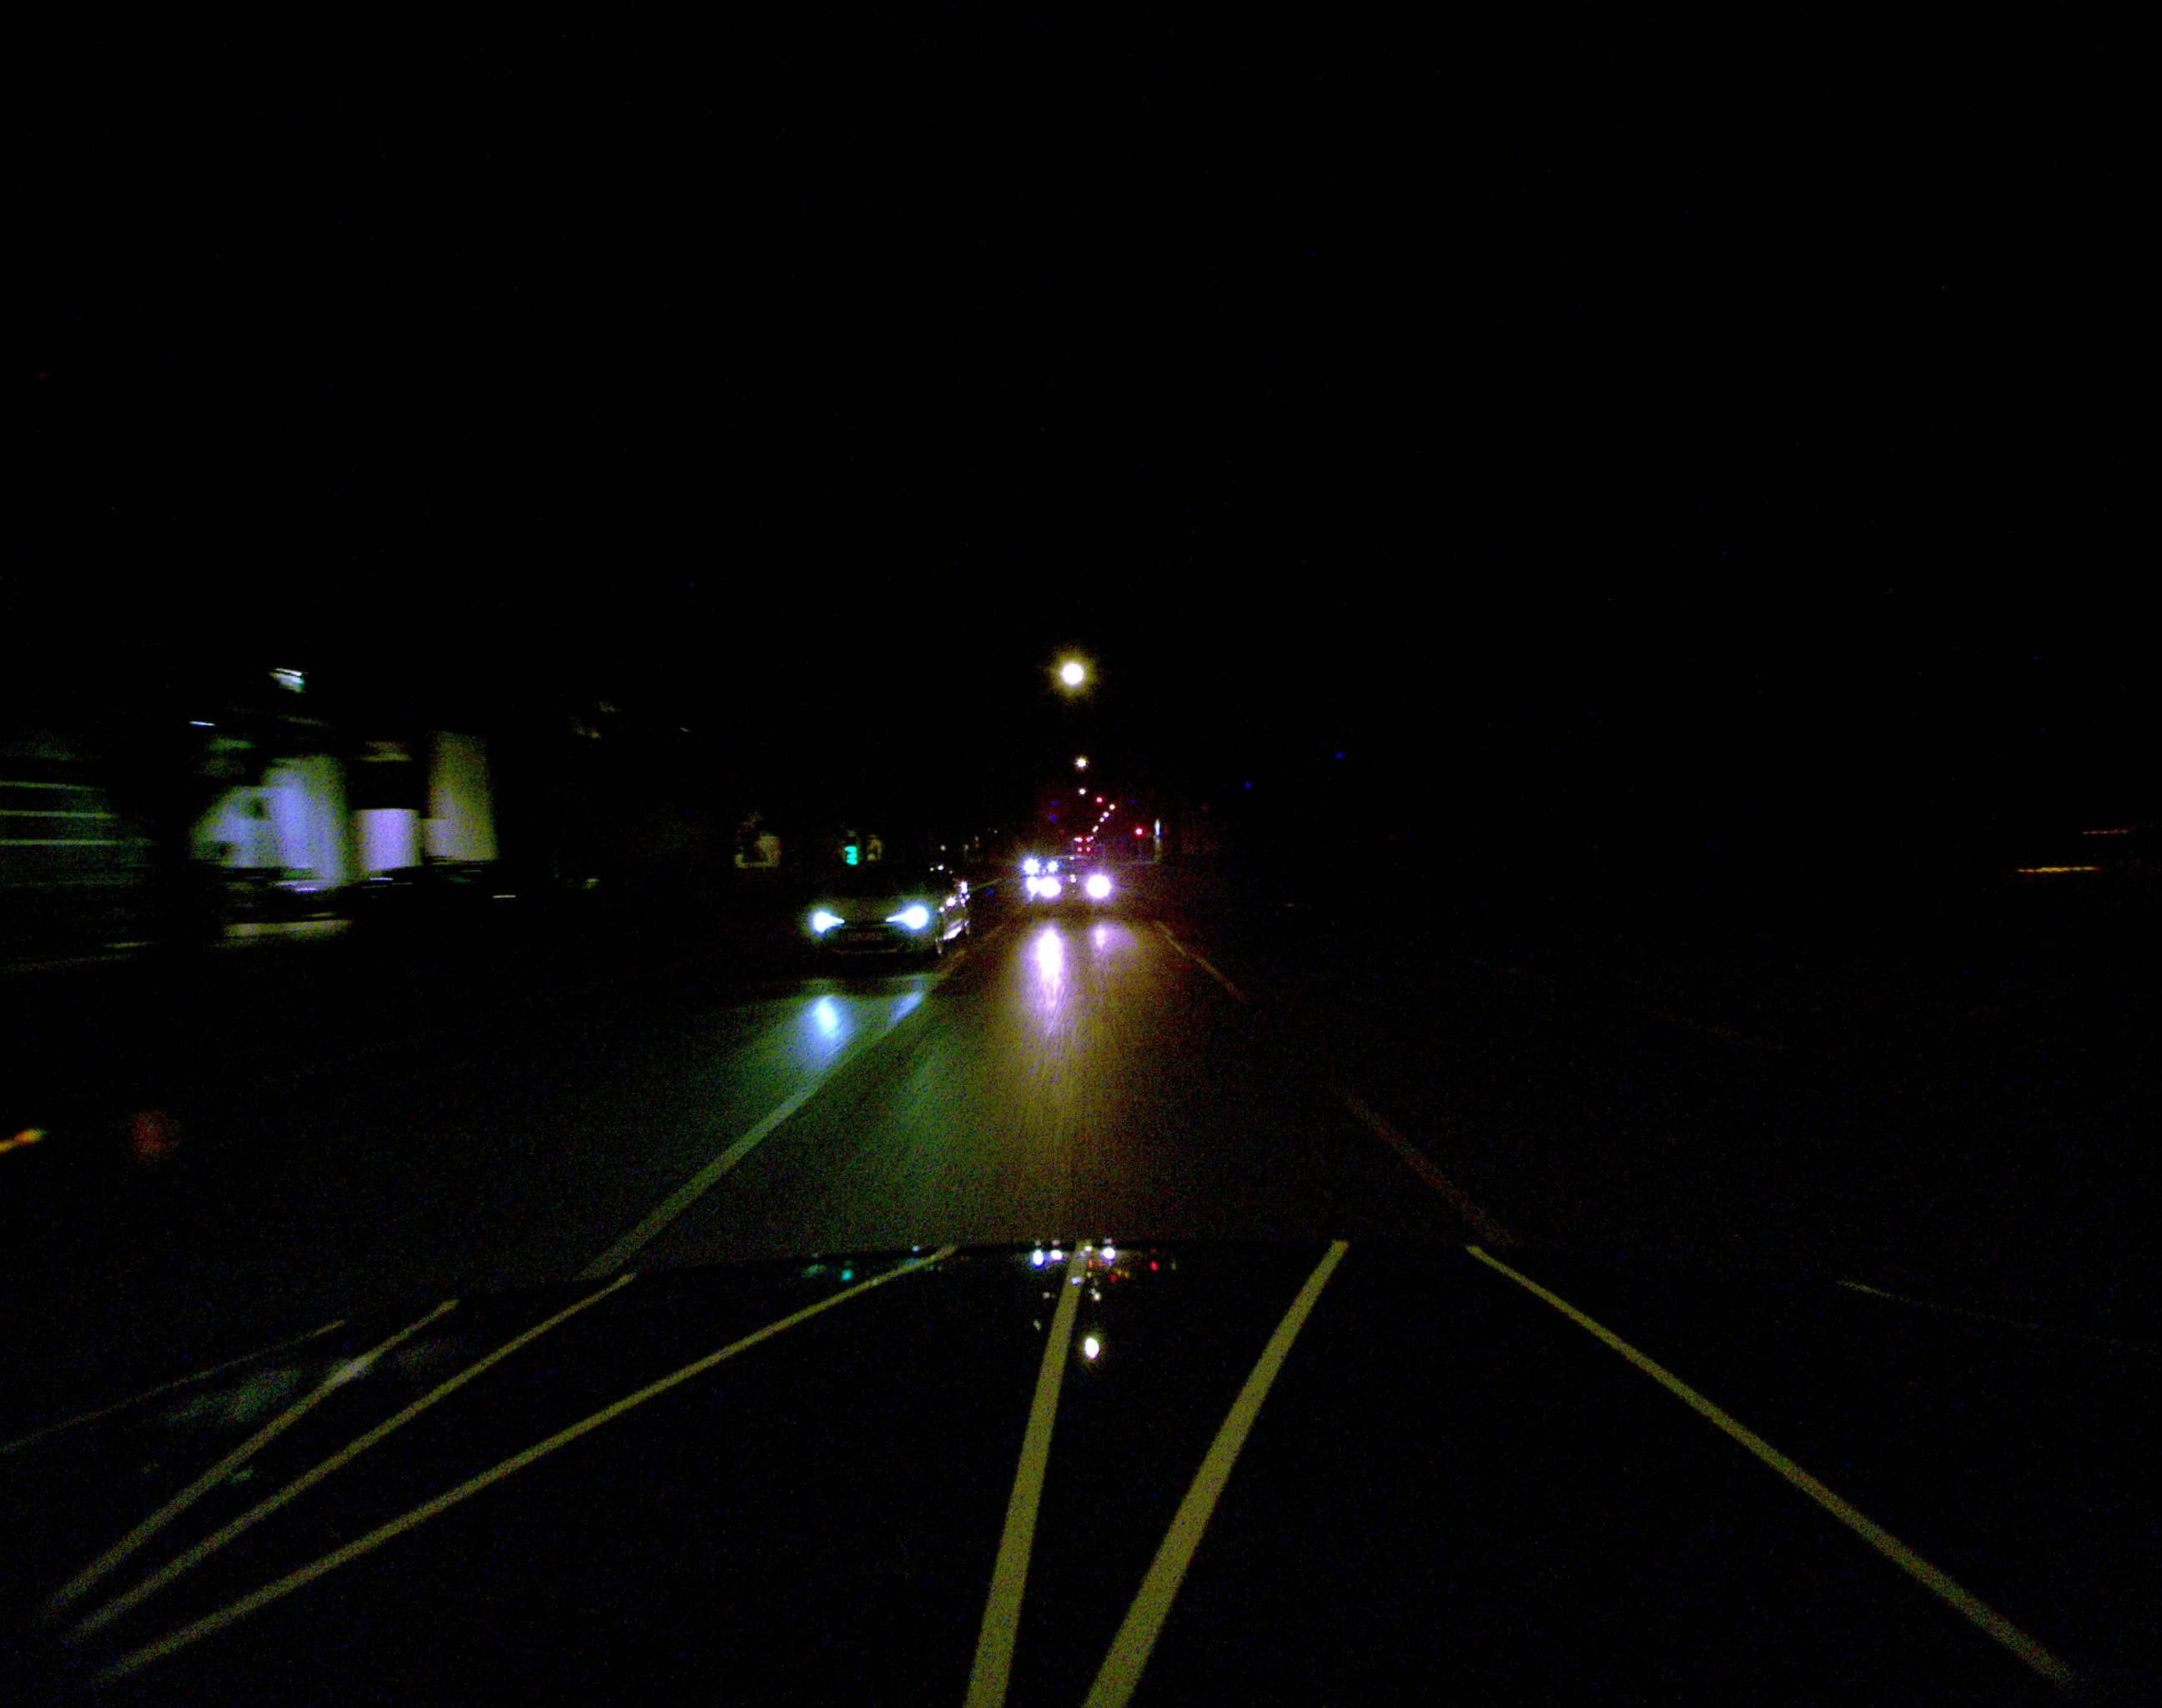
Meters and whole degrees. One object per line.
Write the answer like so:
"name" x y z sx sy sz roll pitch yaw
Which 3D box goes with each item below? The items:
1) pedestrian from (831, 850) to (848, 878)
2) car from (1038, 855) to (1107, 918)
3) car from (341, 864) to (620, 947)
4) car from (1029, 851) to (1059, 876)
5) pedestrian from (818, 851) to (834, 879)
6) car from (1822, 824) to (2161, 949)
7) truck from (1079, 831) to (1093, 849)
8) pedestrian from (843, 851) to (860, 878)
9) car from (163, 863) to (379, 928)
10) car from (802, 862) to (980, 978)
"pedestrian" -15.639 0.662 49.248 0.721 1.778 0.970 -1 1 1
"car" -0.218 0.804 20.816 1.634 1.430 3.839 -3 1 0
"car" -11.844 0.982 15.188 4.092 1.446 1.786 -1 1 0
"car" -2.441 0.600 50.986 1.729 1.455 3.999 -3 1 0
"pedestrian" -16.451 0.690 49.102 0.675 1.806 0.906 -1 1 1
"car" 14.358 0.407 11.344 4.672 1.620 2.003 -1 2 -1
"truck" 1.345 -3.802 208.783 3.517 4.558 9.038 -3 1 0
"pedestrian" -14.800 0.678 49.088 0.737 1.707 0.985 -1 1 1
"car" -22.365 1.101 21.107 3.961 1.557 1.714 -2 2 -3
"car" -2.929 0.937 12.772 1.729 1.421 4.497 -3 1 1
